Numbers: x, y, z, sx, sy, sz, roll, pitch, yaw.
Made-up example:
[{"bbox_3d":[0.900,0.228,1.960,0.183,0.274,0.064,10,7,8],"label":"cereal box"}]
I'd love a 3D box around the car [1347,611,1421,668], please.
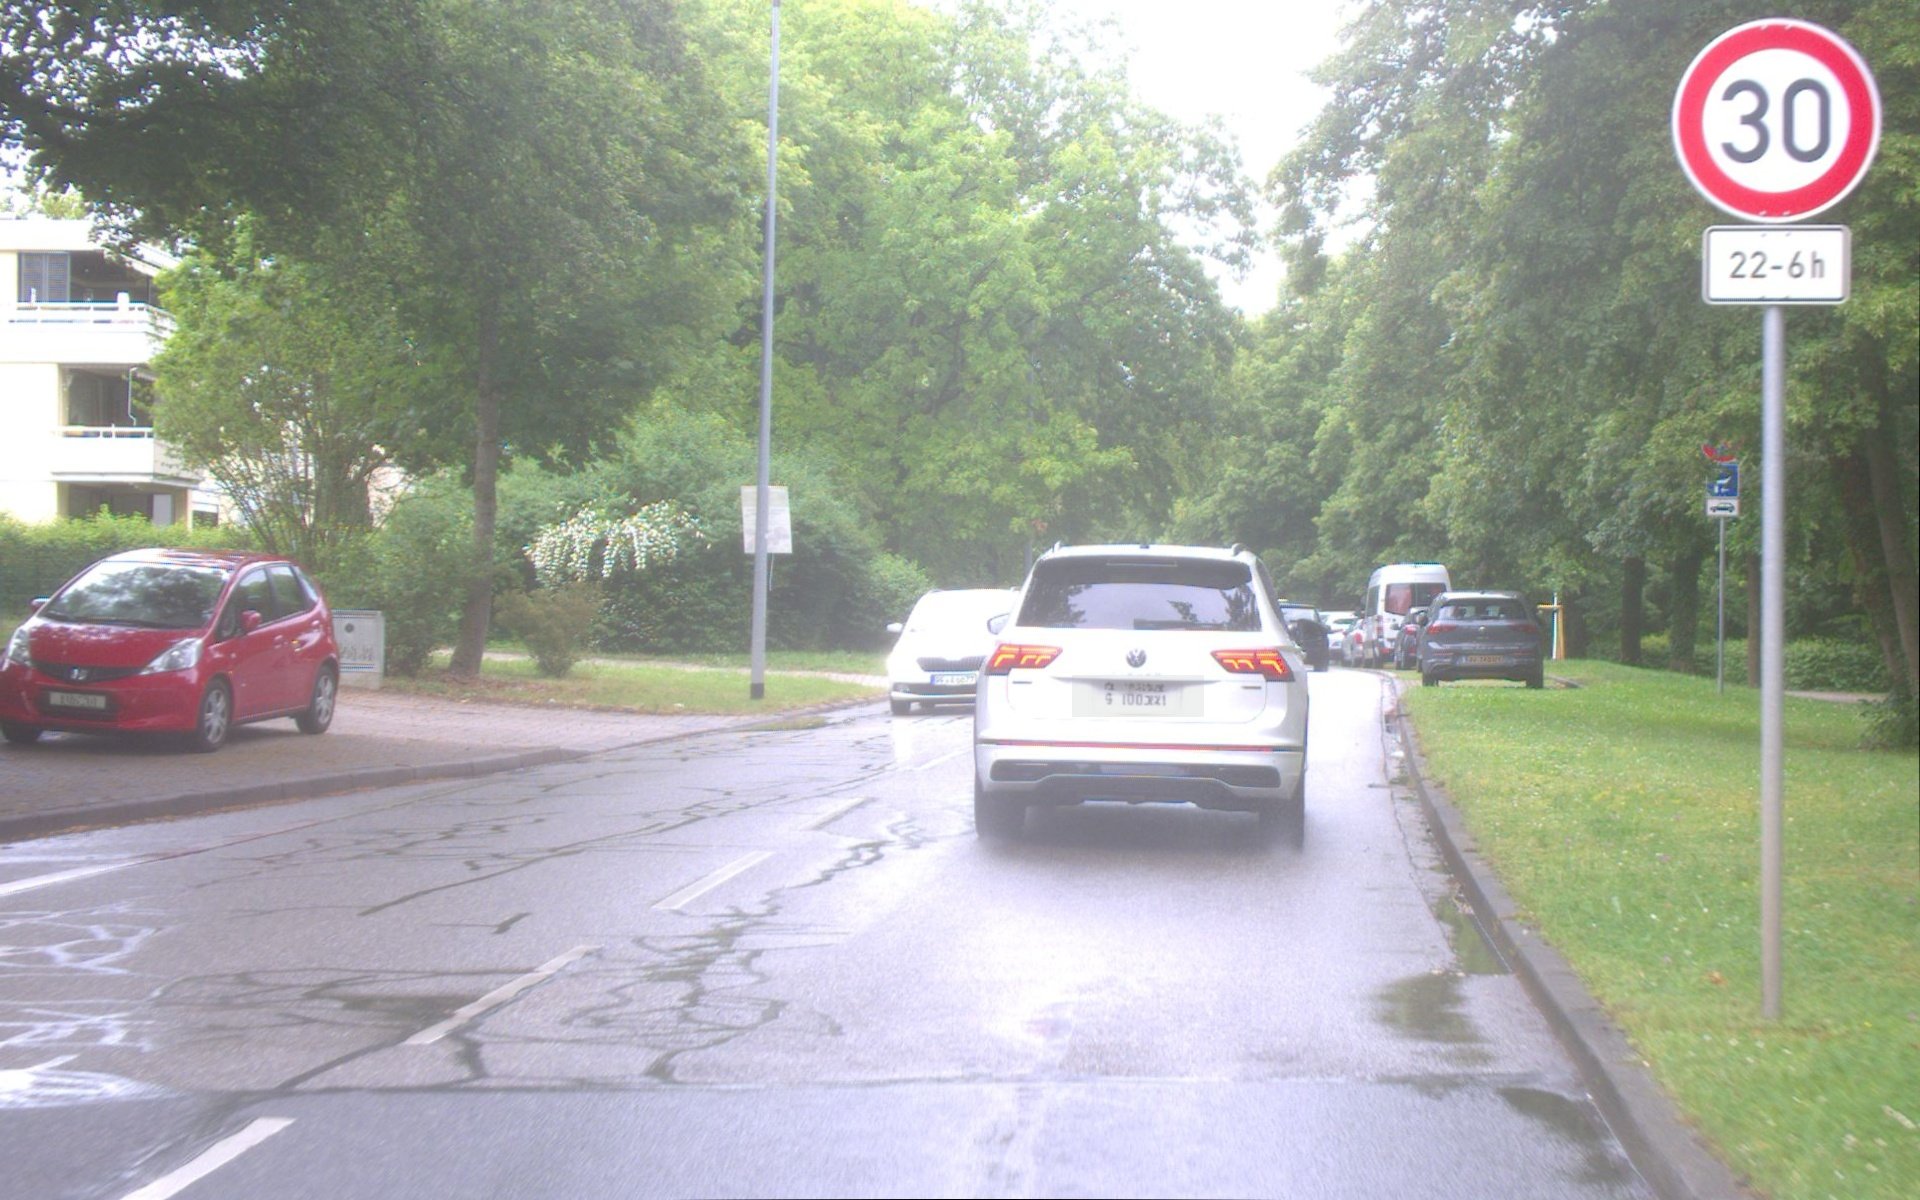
[{"bbox_3d":[11.808,1.094,95.911,1.805,1.534,4.266,-1,-1,4],"label":"car"}]

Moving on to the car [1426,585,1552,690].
[{"bbox_3d":[7.695,0.535,50.256,1.701,1.457,4.216,-1,0,7],"label":"car"}]

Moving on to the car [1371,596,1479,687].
[{"bbox_3d":[8.249,0.715,60.870,1.744,1.447,3.998,4,0,8],"label":"car"}]

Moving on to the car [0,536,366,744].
[{"bbox_3d":[-6.397,0.270,27.861,1.994,1.511,3.999,2,1,7],"label":"car"}]

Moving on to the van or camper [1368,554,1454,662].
[{"bbox_3d":[11.742,0.202,89.174,2.016,2.574,8.432,2,0,8],"label":"van or camper"}]

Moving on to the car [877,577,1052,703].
[{"bbox_3d":[0.099,0.455,41.327,1.701,1.405,4.007,-1,0,6],"label":"car"}]

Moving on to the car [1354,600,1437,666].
[{"bbox_3d":[10.236,0.757,80.691,1.866,1.506,3.723,0,0,8],"label":"car"}]

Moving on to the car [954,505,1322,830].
[{"bbox_3d":[1.102,0.333,20.099,1.905,1.679,4.200,1,1,5],"label":"car"}]

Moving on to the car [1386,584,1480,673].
[{"bbox_3d":[9.432,0.559,68.503,1.782,1.714,4.260,0,0,8],"label":"car"}]
